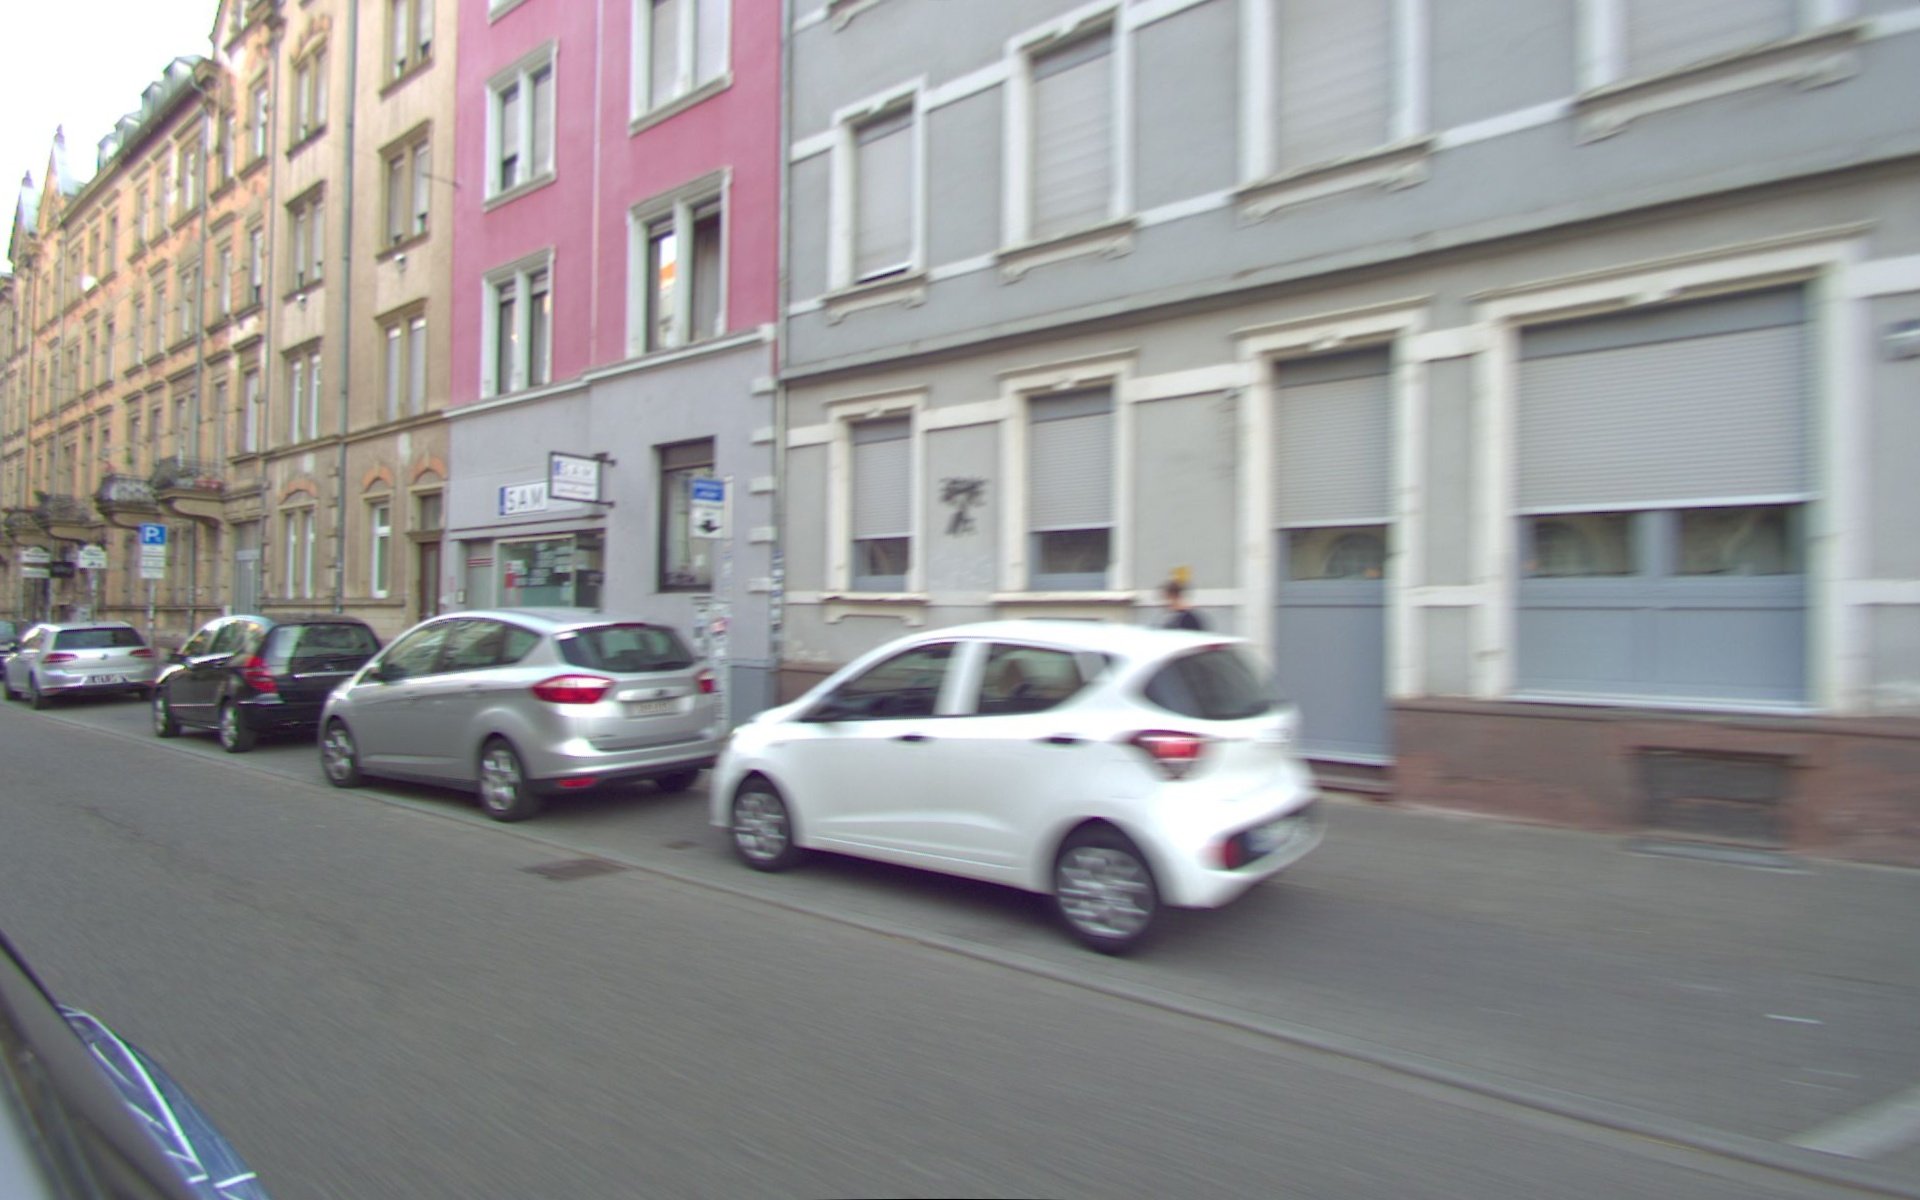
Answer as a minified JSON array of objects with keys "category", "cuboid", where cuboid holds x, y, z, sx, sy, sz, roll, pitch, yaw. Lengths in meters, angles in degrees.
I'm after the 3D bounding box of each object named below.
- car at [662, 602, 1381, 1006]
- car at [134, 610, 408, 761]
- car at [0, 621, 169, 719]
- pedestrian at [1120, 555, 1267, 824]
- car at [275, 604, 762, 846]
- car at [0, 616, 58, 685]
[{"category":"car","cuboid":[0.167,0.839,5.935,3.922,1.588,1.736,-1,0,39]},{"category":"car","cuboid":[-8.836,0.962,12.867,4.052,1.605,1.736,-1,0,38]},{"category":"car","cuboid":[-16.260,1.196,18.640,4.053,1.486,1.736,-1,3,39]},{"category":"pedestrian","cuboid":[1.845,0.669,7.994,0.833,1.964,0.840,-1,-3,42]},{"category":"car","cuboid":[-4.042,0.876,8.916,4.663,1.605,1.816,-1,0,36]},{"category":"car","cuboid":[-23.354,1.209,24.282,4.273,1.486,1.737,-1,3,38]}]
